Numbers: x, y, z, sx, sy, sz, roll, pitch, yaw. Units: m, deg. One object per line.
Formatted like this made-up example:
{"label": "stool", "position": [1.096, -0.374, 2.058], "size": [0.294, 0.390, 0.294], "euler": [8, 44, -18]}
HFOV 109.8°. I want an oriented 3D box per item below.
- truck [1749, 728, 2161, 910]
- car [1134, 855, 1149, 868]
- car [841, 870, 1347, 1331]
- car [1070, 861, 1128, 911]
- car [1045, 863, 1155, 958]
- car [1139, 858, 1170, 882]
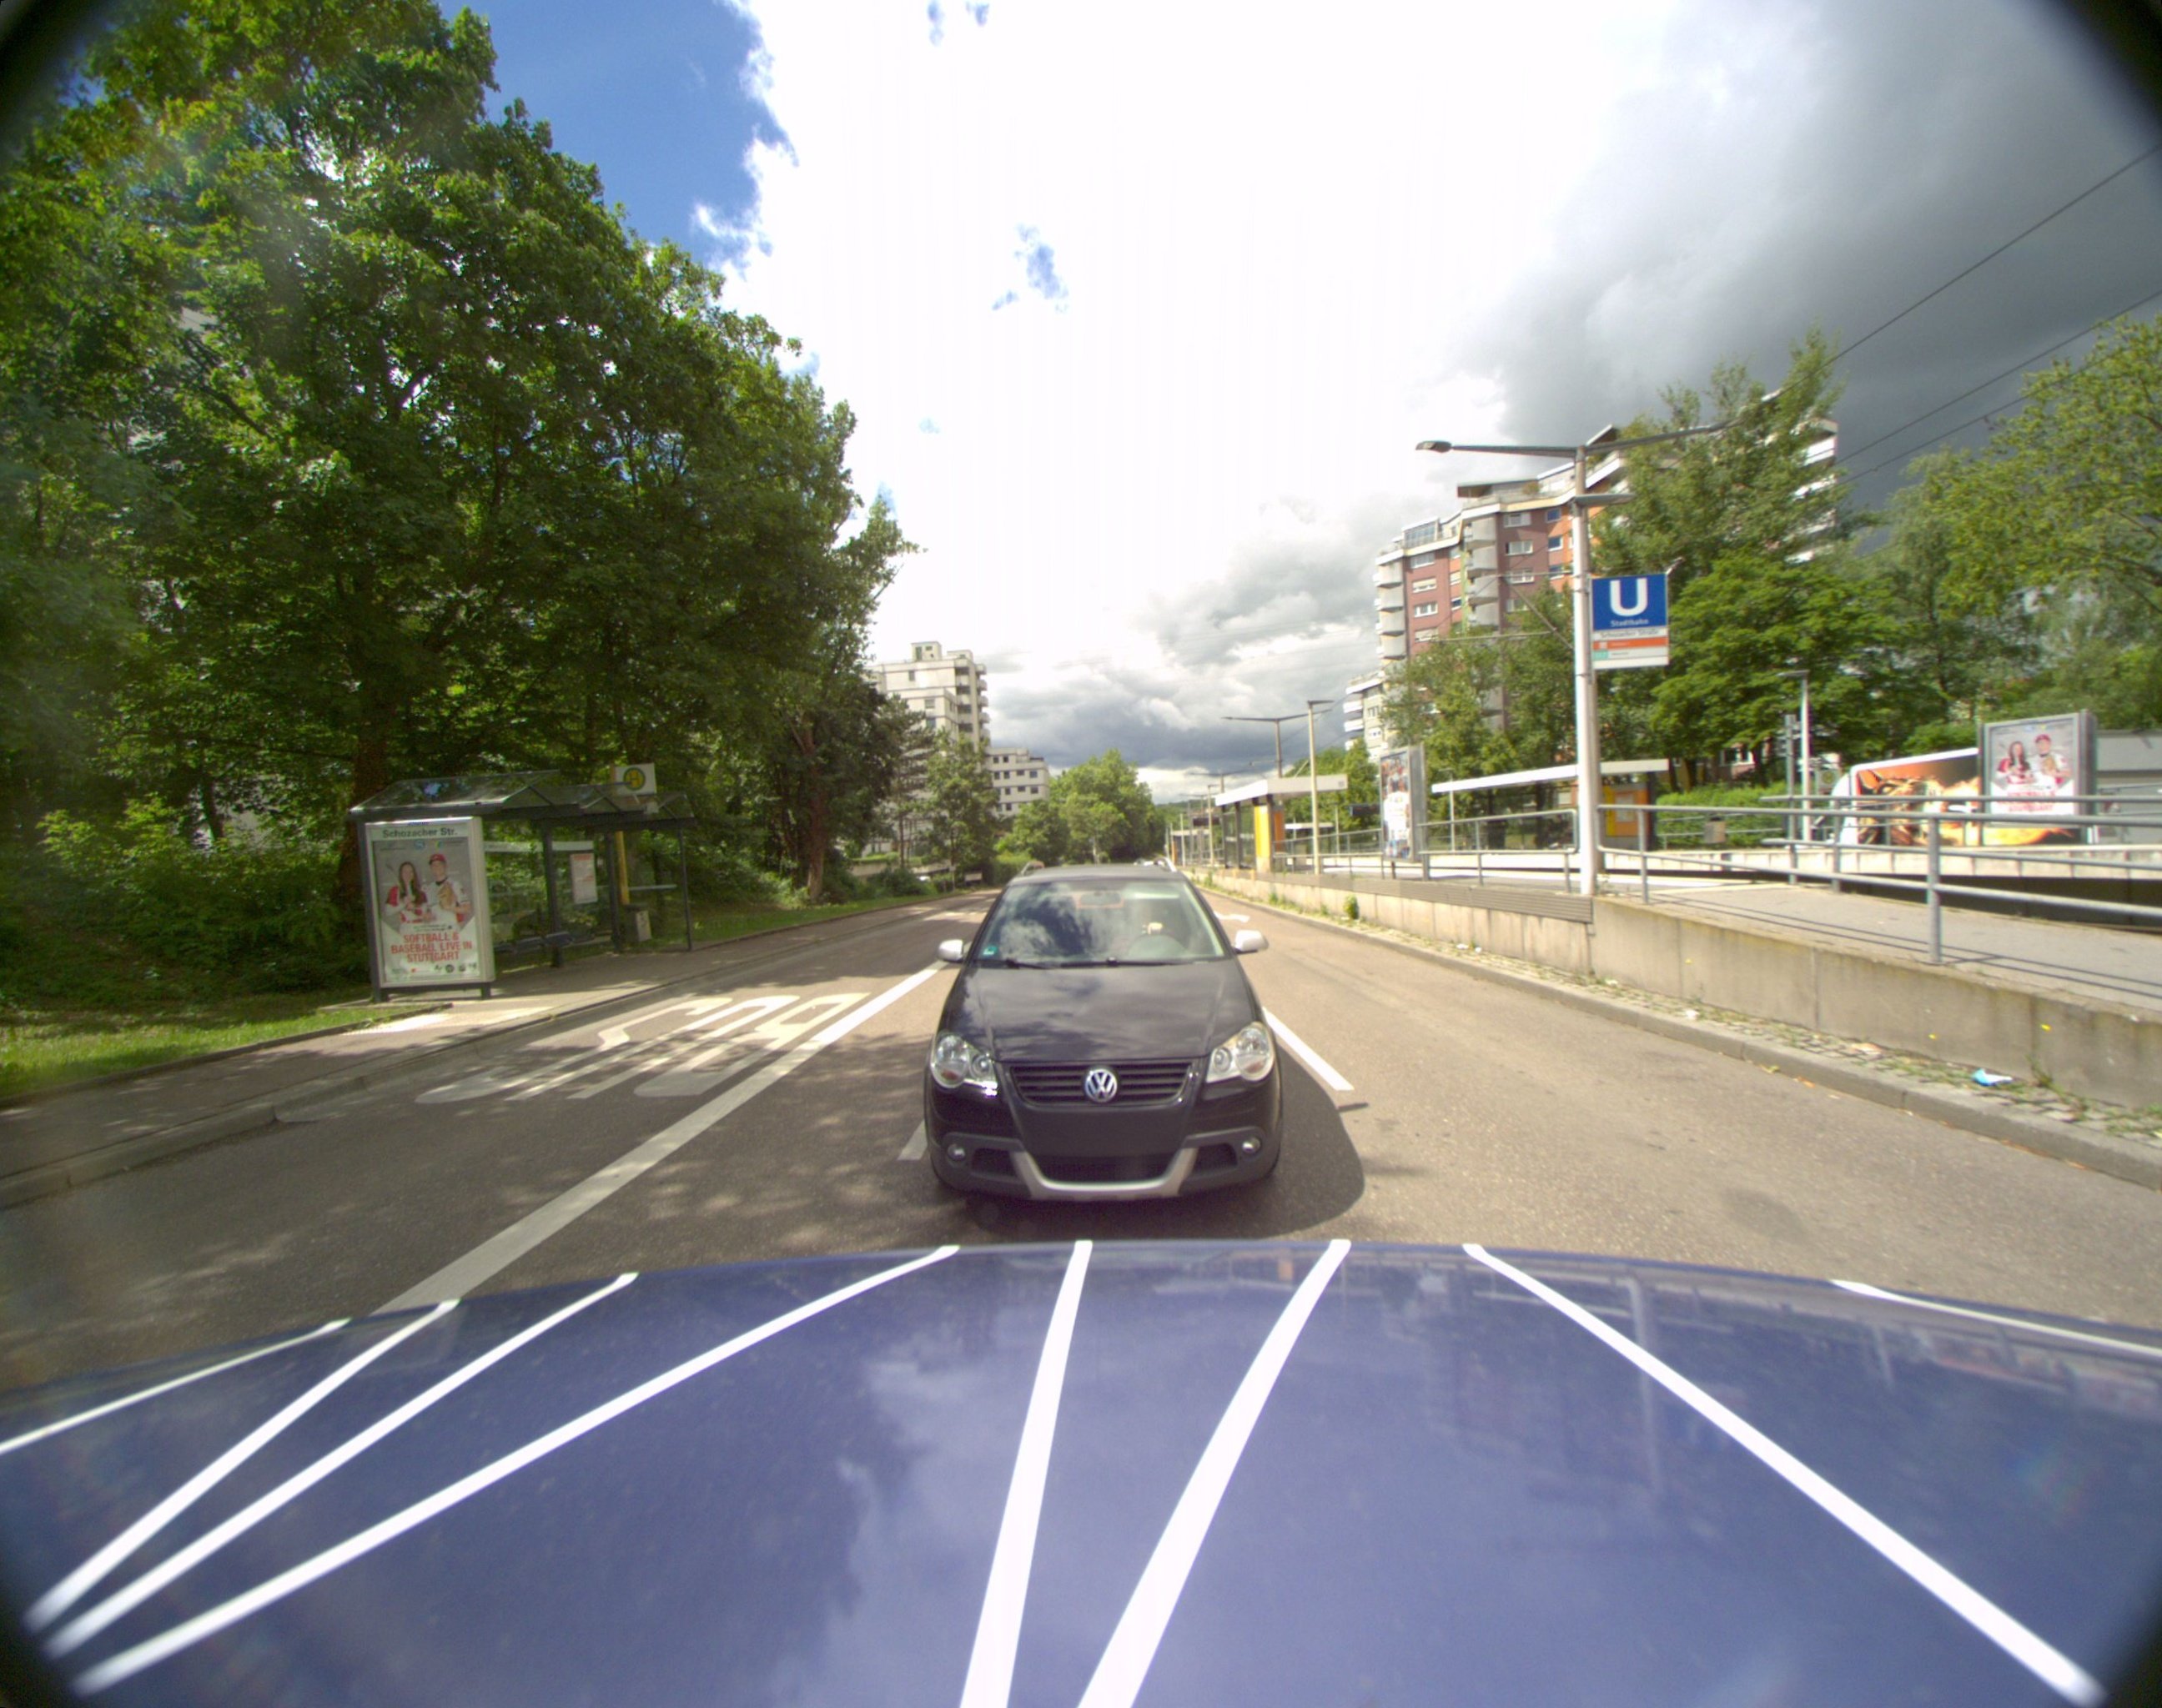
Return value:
{"label": "truck", "position": [19.522, -0.626, 17.221], "size": [2.420, 3.203, 7.263], "euler": [-2, 0, 1]}
{"label": "car", "position": [7.522, 0.890, 94.801], "size": [1.732, 1.505, 4.001], "euler": [-2, 1, 4]}
{"label": "car", "position": [0.081, 0.922, 4.691], "size": [1.732, 1.501, 4.000], "euler": [-2, 0, 1]}
{"label": "car", "position": [0.681, 1.019, 25.437], "size": [1.732, 1.452, 4.001], "euler": [-2, 0, 3]}
{"label": "car", "position": [0.353, 0.944, 14.374], "size": [1.732, 1.453, 4.000], "euler": [-2, 0, 1]}
{"label": "car", "position": [4.903, 1.061, 51.056], "size": [1.732, 1.453, 4.000], "euler": [-2, 0, 1]}
